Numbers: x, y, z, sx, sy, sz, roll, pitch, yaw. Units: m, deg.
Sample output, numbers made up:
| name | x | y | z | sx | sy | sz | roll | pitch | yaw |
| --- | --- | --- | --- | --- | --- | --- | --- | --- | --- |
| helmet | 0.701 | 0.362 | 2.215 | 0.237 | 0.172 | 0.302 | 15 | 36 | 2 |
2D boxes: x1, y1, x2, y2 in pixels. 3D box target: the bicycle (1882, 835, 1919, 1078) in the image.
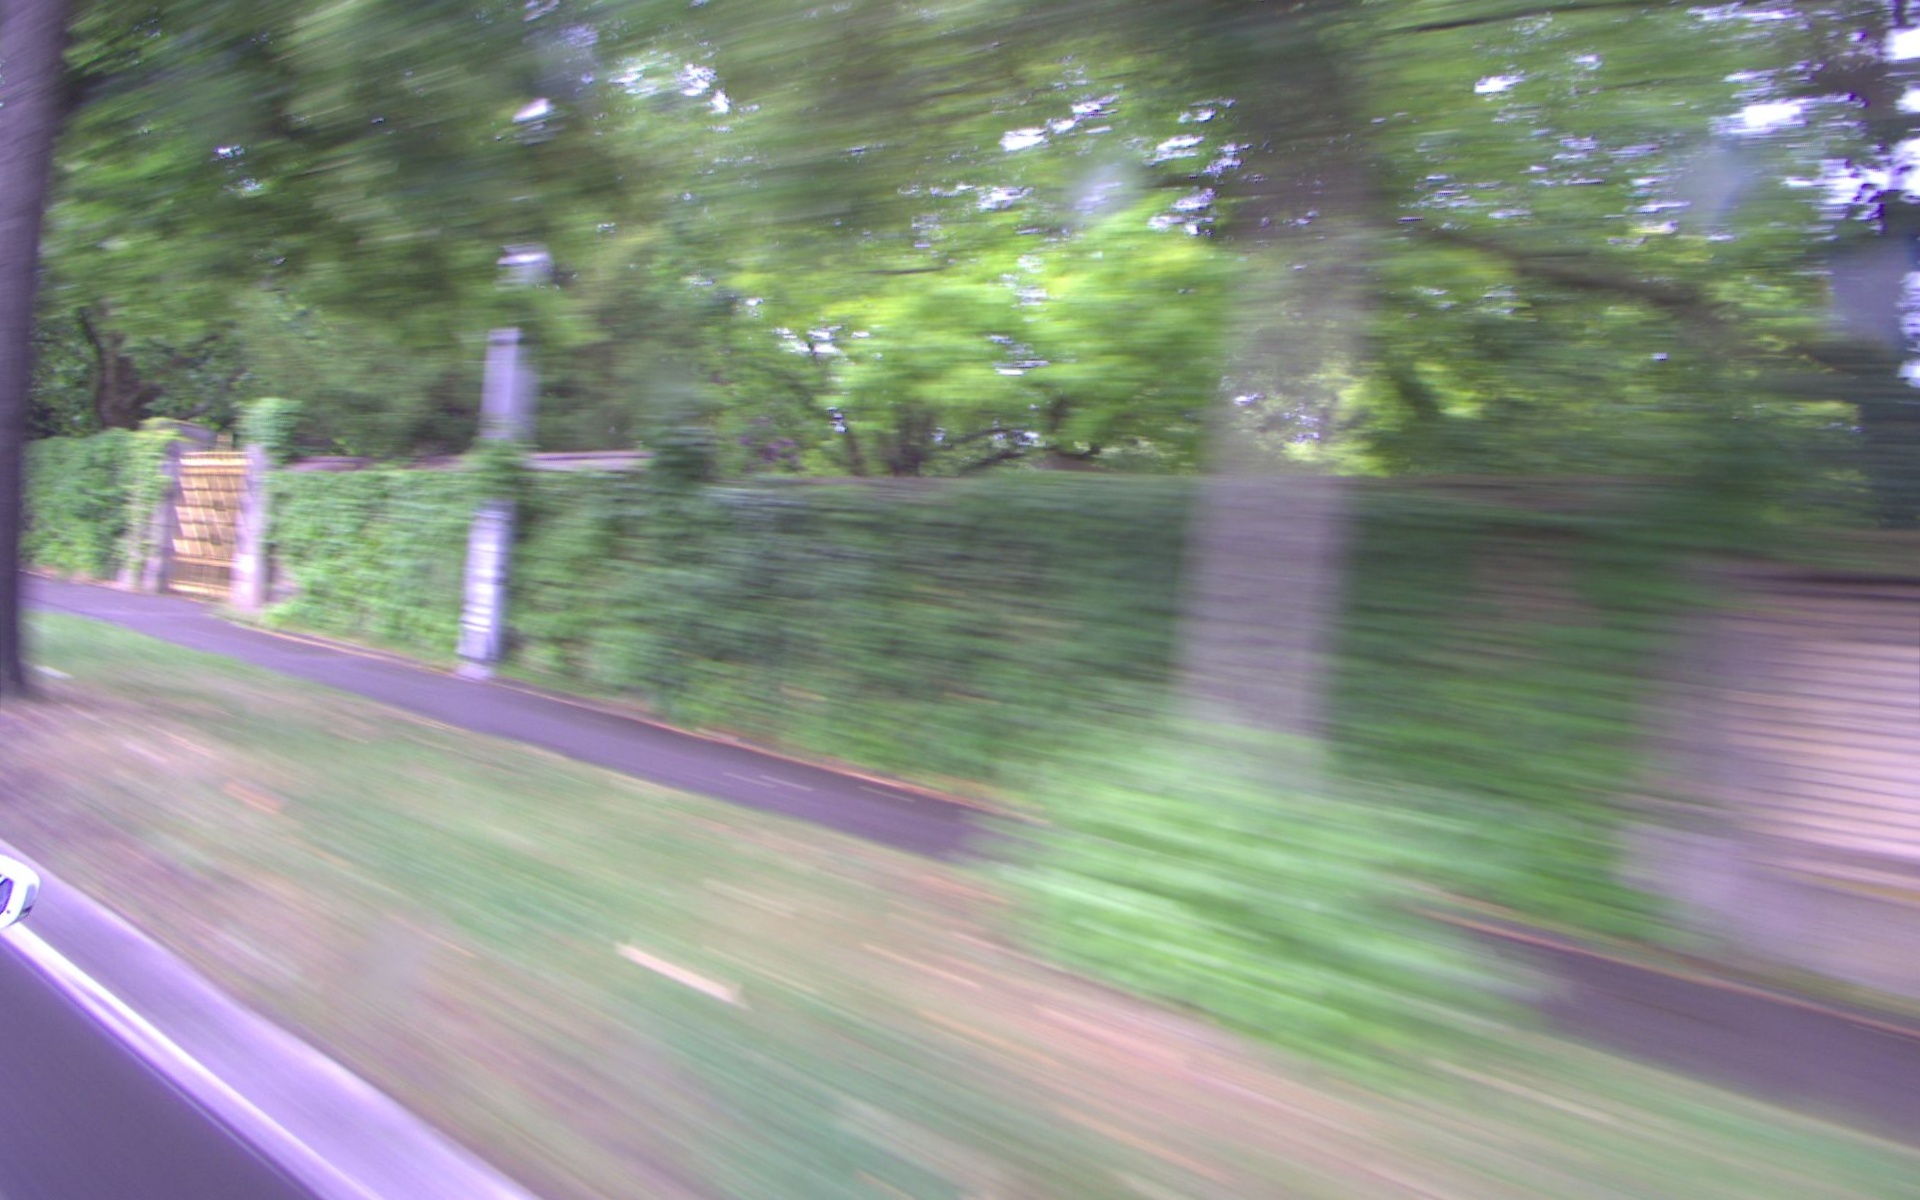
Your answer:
| name | x | y | z | sx | sy | sz | roll | pitch | yaw |
| --- | --- | --- | --- | --- | --- | --- | --- | --- | --- |
| bicycle | 5.213 | 1.660 | 3.730 | 2.509 | 0.959 | 0.543 | 6 | 0 | 36 |
